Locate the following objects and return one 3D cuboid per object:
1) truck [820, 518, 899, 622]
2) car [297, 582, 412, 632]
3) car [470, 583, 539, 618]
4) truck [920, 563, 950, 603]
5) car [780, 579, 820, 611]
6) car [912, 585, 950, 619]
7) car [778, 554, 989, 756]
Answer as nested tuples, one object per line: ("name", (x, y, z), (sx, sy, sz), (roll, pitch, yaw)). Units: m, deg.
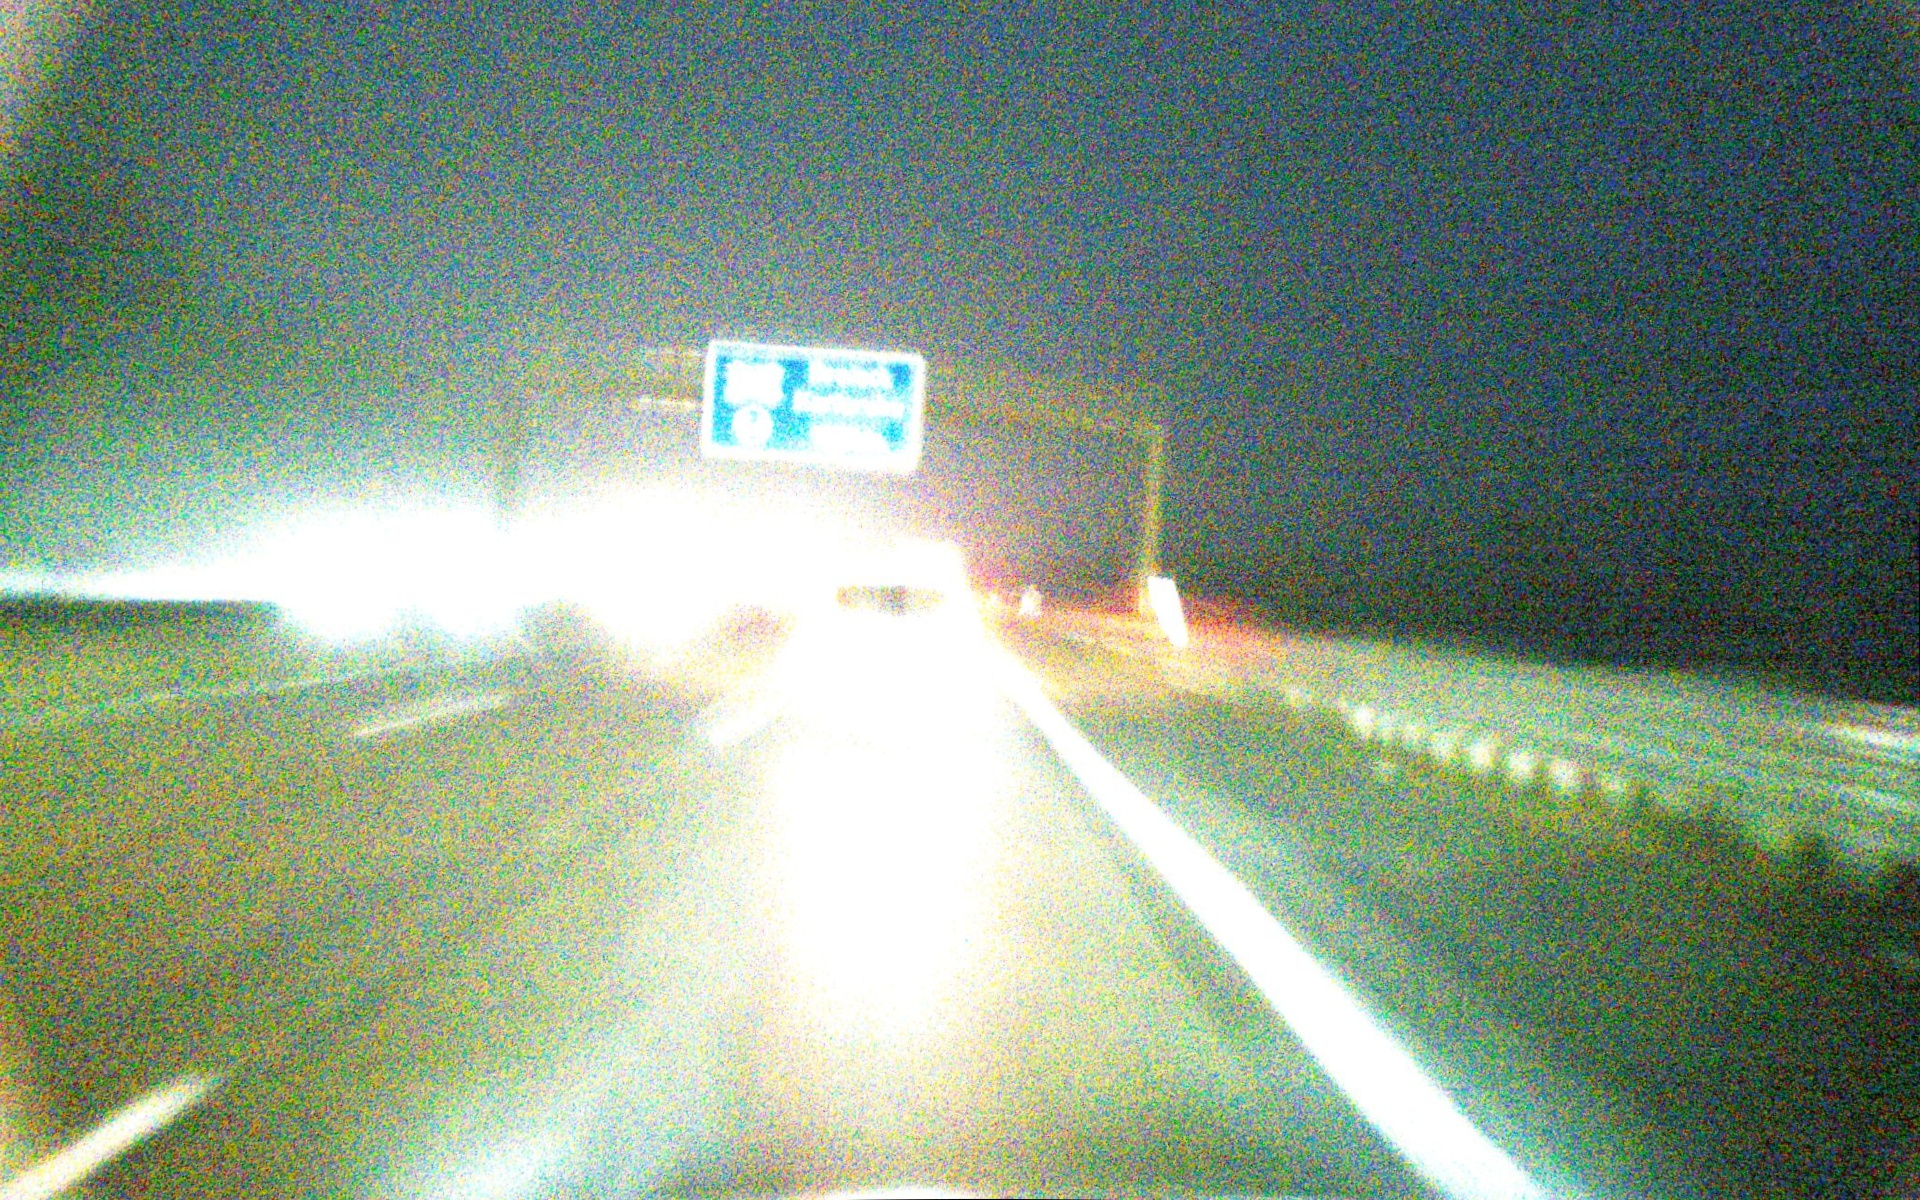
("truck", (-5.807, -1.657, 98.086), (4.083, 5.641, 13.070), (2, 0, -1))
("car", (-20.173, 0.216, 55.373), (1.932, 1.489, 5.368), (3, 0, -1))
("car", (-21.516, 0.029, 78.353), (1.932, 1.489, 4.897), (3, 0, -1))
("truck", (-3.382, -2.176, 218.690), (3.747, 5.001, 11.602), (2, 0, -2))
("car", (-9.884, -0.338, 102.363), (1.954, 1.735, 4.195), (7, 1, -1))
("car", (-1.616, 0.122, 90.000), (1.953, 1.736, 4.194), (2, 0, -2))
("car", (-0.743, 0.514, 18.005), (1.913, 1.823, 5.123), (2, 0, -1))
